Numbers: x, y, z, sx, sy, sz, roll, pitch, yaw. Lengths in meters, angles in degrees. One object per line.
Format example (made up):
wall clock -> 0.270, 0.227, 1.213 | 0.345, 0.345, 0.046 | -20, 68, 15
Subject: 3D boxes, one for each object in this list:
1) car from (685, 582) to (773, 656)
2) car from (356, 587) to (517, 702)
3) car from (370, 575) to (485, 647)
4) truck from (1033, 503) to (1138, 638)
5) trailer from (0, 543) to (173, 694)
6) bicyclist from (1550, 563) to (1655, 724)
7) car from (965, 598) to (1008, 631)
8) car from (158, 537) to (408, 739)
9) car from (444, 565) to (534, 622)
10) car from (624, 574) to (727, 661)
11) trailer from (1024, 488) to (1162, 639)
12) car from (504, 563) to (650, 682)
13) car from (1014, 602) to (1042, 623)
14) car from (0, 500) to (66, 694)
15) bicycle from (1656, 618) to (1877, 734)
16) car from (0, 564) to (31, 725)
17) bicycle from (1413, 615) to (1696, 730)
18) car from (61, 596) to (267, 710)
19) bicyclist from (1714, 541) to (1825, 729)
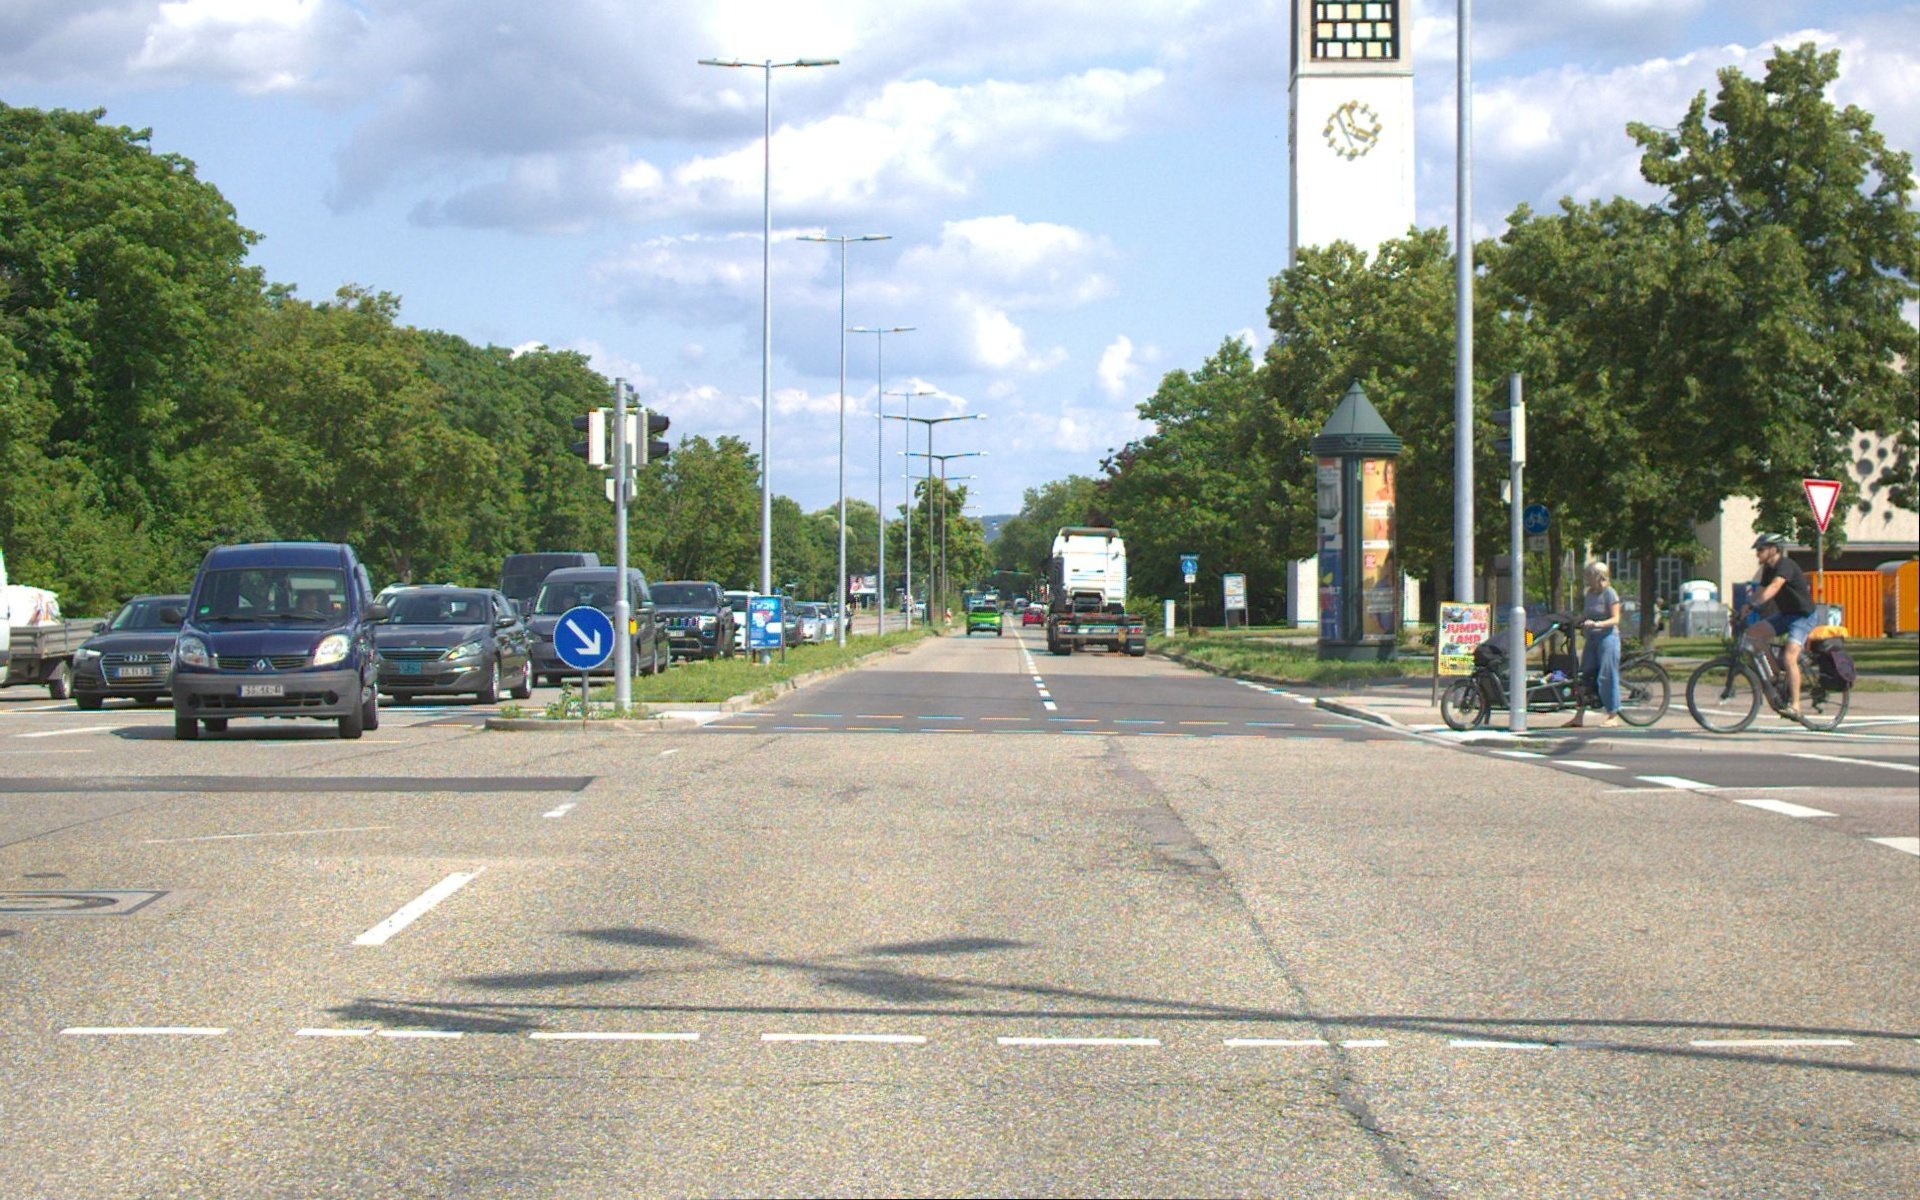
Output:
car -> -5.507, 0.439, 82.265 | 1.734, 1.654, 4.231 | 2, 0, 0
car -> -6.447, 0.535, 42.594 | 1.568, 1.311, 3.432 | 2, 0, -3
car -> -9.654, 0.190, 62.526 | 1.548, 1.213, 3.490 | 2, 0, -1
truck -> 3.945, -0.839, 106.108 | 2.960, 3.957, 8.636 | 1, -1, 4
trailer -> -12.974, 0.233, 48.719 | 2.124, 2.007, 5.161 | 2, 0, 3
bicyclist -> 6.512, 0.433, 34.844 | 0.698, 1.610, 0.797 | 0, 0, -24
car -> 1.317, 0.719, 172.520 | 1.993, 1.547, 4.000 | 2, 0, -1
car -> -6.079, 0.318, 31.260 | 1.734, 1.654, 4.232 | 2, 0, -5
car -> -10.673, -0.134, 78.077 | 1.548, 1.213, 3.490 | 2, 0, -1
car -> -5.773, 0.354, 70.079 | 1.734, 1.654, 4.231 | 2, 0, -1
trailer -> 3.901, -0.932, 97.968 | 3.621, 3.998, 11.317 | 1, 0, 4
car -> -5.847, 0.312, 52.844 | 1.734, 1.654, 4.231 | 2, 1, 0
car -> 5.173, 0.967, 262.055 | 1.993, 1.547, 4.000 | 2, 0, -1
car -> -13.284, -0.076, 43.133 | 2.174, 2.463, 5.966 | 2, 0, 4
bicycle -> 7.777, 0.726, 33.164 | 1.996, 1.090, 0.686 | 0, 0, -18
car -> -10.156, 0.393, 31.670 | 1.735, 1.538, 4.308 | 2, 0, 4
bicycle -> 5.999, 0.720, 34.628 | 2.832, 1.108, 0.797 | 0, 1, -24
car -> -9.828, 0.632, 42.651 | 1.763, 1.347, 3.519 | 0, 0, -1
bicyclist -> 7.805, 0.333, 33.168 | 0.786, 1.798, 0.686 | 0, 0, -18
